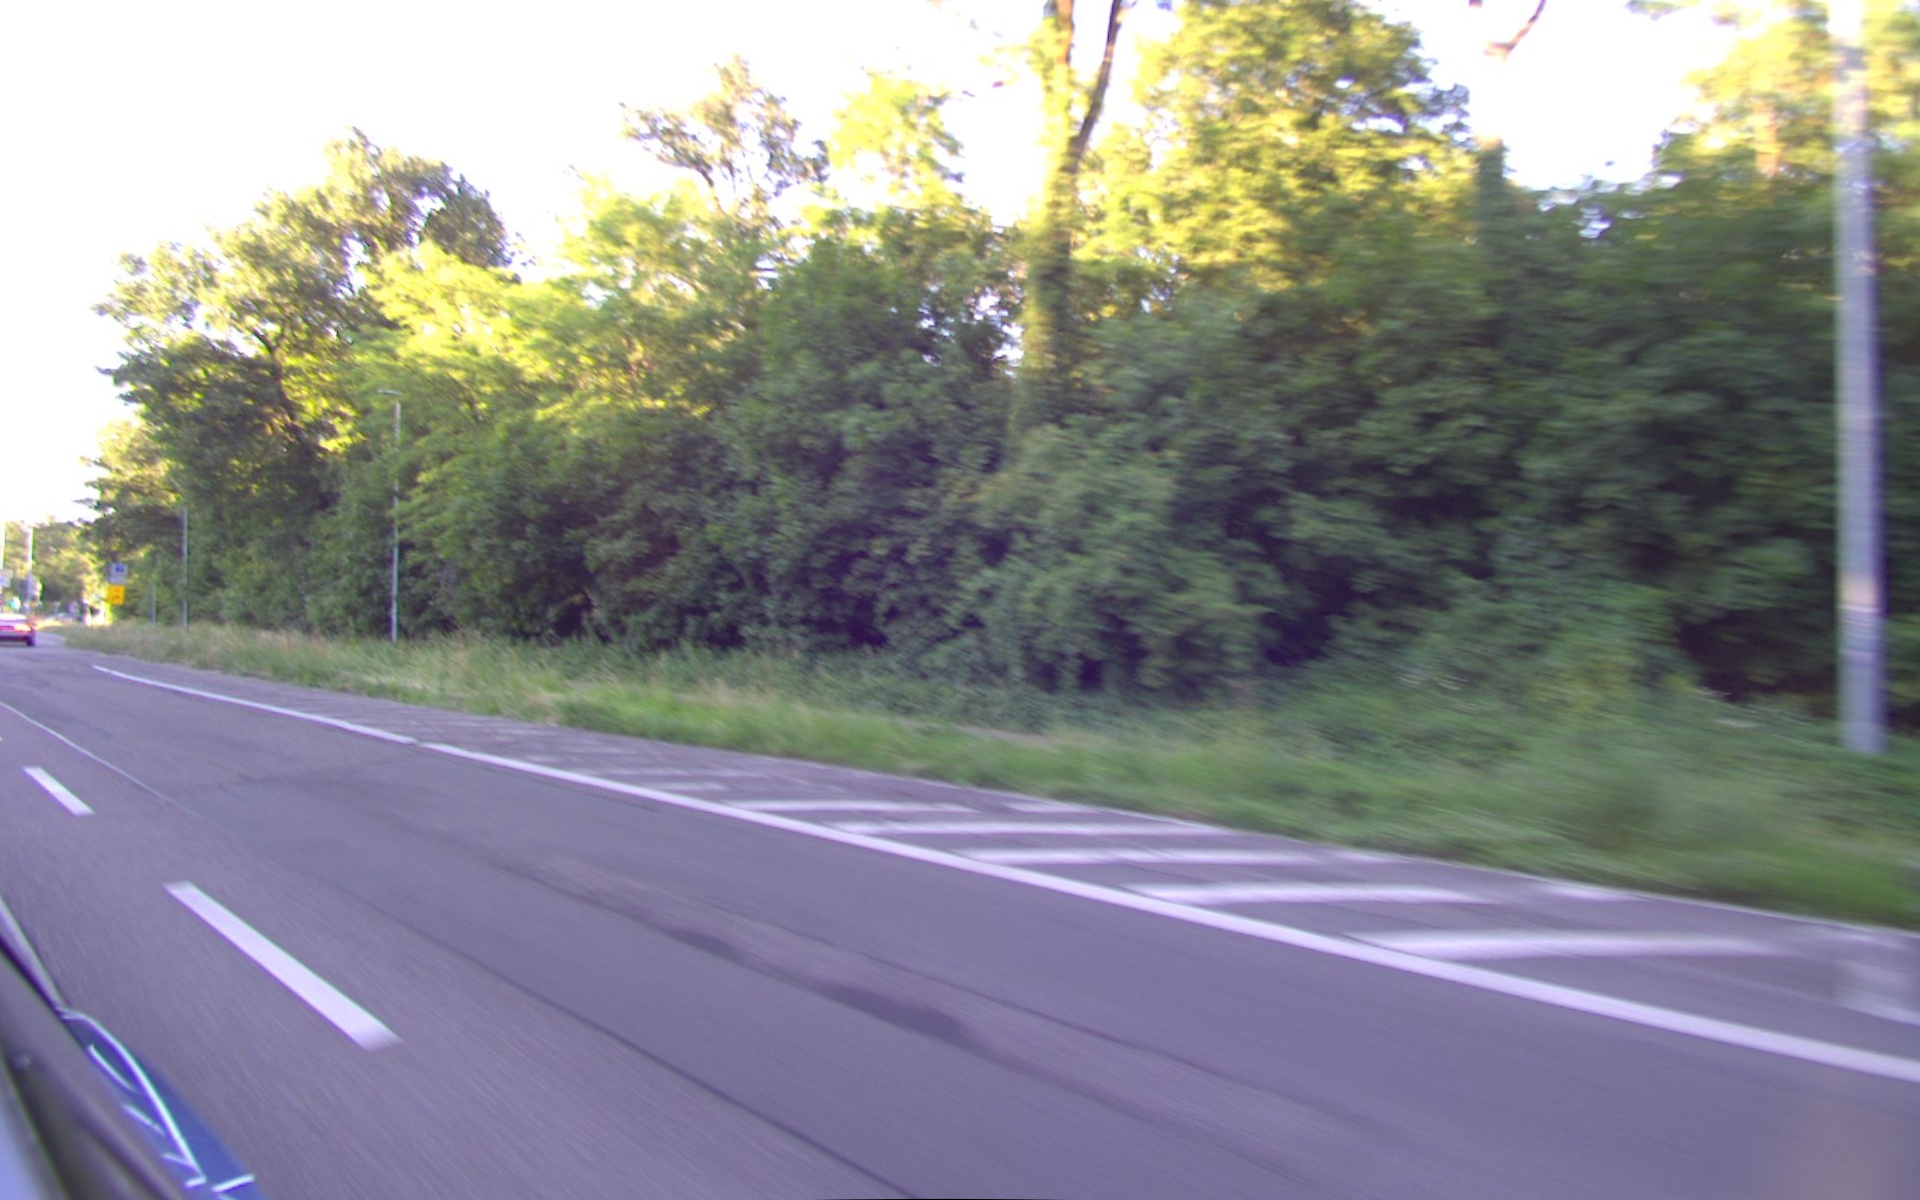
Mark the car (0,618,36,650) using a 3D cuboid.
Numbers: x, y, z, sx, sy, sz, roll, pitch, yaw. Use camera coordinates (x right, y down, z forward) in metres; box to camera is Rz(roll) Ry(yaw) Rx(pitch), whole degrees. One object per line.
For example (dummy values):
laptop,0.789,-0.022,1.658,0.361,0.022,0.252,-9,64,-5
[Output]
car,-45.061,1.606,47.559,4.466,1.446,2.040,-3,-4,43
